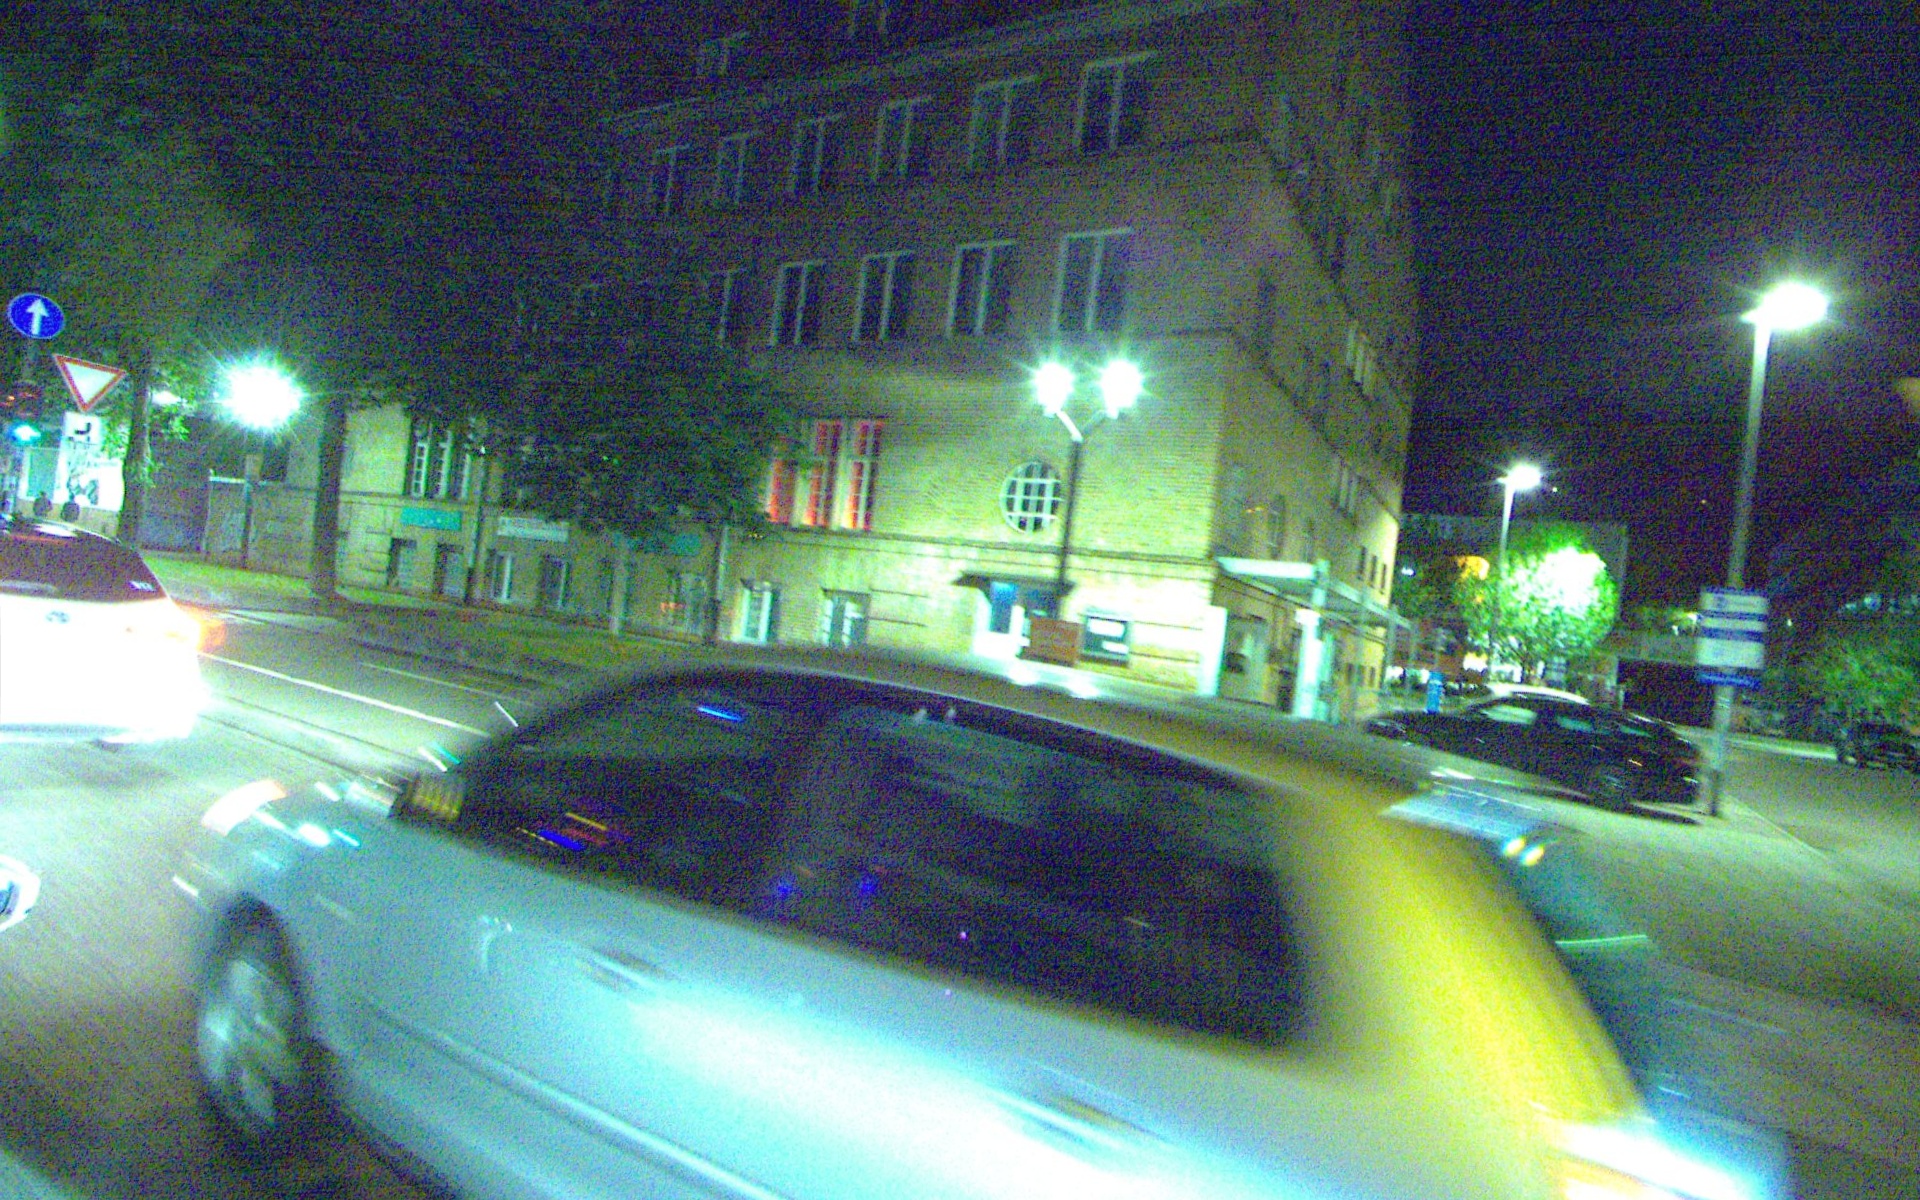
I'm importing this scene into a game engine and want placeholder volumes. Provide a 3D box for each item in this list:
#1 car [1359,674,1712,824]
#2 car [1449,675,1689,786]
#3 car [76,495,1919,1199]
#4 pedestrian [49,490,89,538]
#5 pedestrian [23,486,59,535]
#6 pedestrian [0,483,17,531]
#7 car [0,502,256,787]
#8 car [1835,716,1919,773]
[{"bbox_3d":[8.700,2.166,15.509,4.409,1.412,1.514,7,0,34],"label":"car"},{"bbox_3d":[12.415,2.603,20.719,3.934,1.552,1.784,7,0,33],"label":"car"},{"bbox_3d":[-0.394,0.731,2.617,3.933,1.511,1.641,7,-2,31],"label":"car"},{"bbox_3d":[-36.288,-3.487,40.974,0.892,1.791,0.902,7,1,31],"label":"pedestrian"},{"bbox_3d":[-36.427,-3.562,39.877,0.892,1.791,0.739,7,1,31],"label":"pedestrian"},{"bbox_3d":[-37.183,-3.638,38.906,0.892,1.791,0.715,7,1,31],"label":"pedestrian"},{"bbox_3d":[-6.551,0.048,6.374,4.139,1.451,1.734,7,-2,30],"label":"car"},{"bbox_3d":[36.131,5.613,39.351,2.046,1.787,4.542,7,-1,33],"label":"car"}]
